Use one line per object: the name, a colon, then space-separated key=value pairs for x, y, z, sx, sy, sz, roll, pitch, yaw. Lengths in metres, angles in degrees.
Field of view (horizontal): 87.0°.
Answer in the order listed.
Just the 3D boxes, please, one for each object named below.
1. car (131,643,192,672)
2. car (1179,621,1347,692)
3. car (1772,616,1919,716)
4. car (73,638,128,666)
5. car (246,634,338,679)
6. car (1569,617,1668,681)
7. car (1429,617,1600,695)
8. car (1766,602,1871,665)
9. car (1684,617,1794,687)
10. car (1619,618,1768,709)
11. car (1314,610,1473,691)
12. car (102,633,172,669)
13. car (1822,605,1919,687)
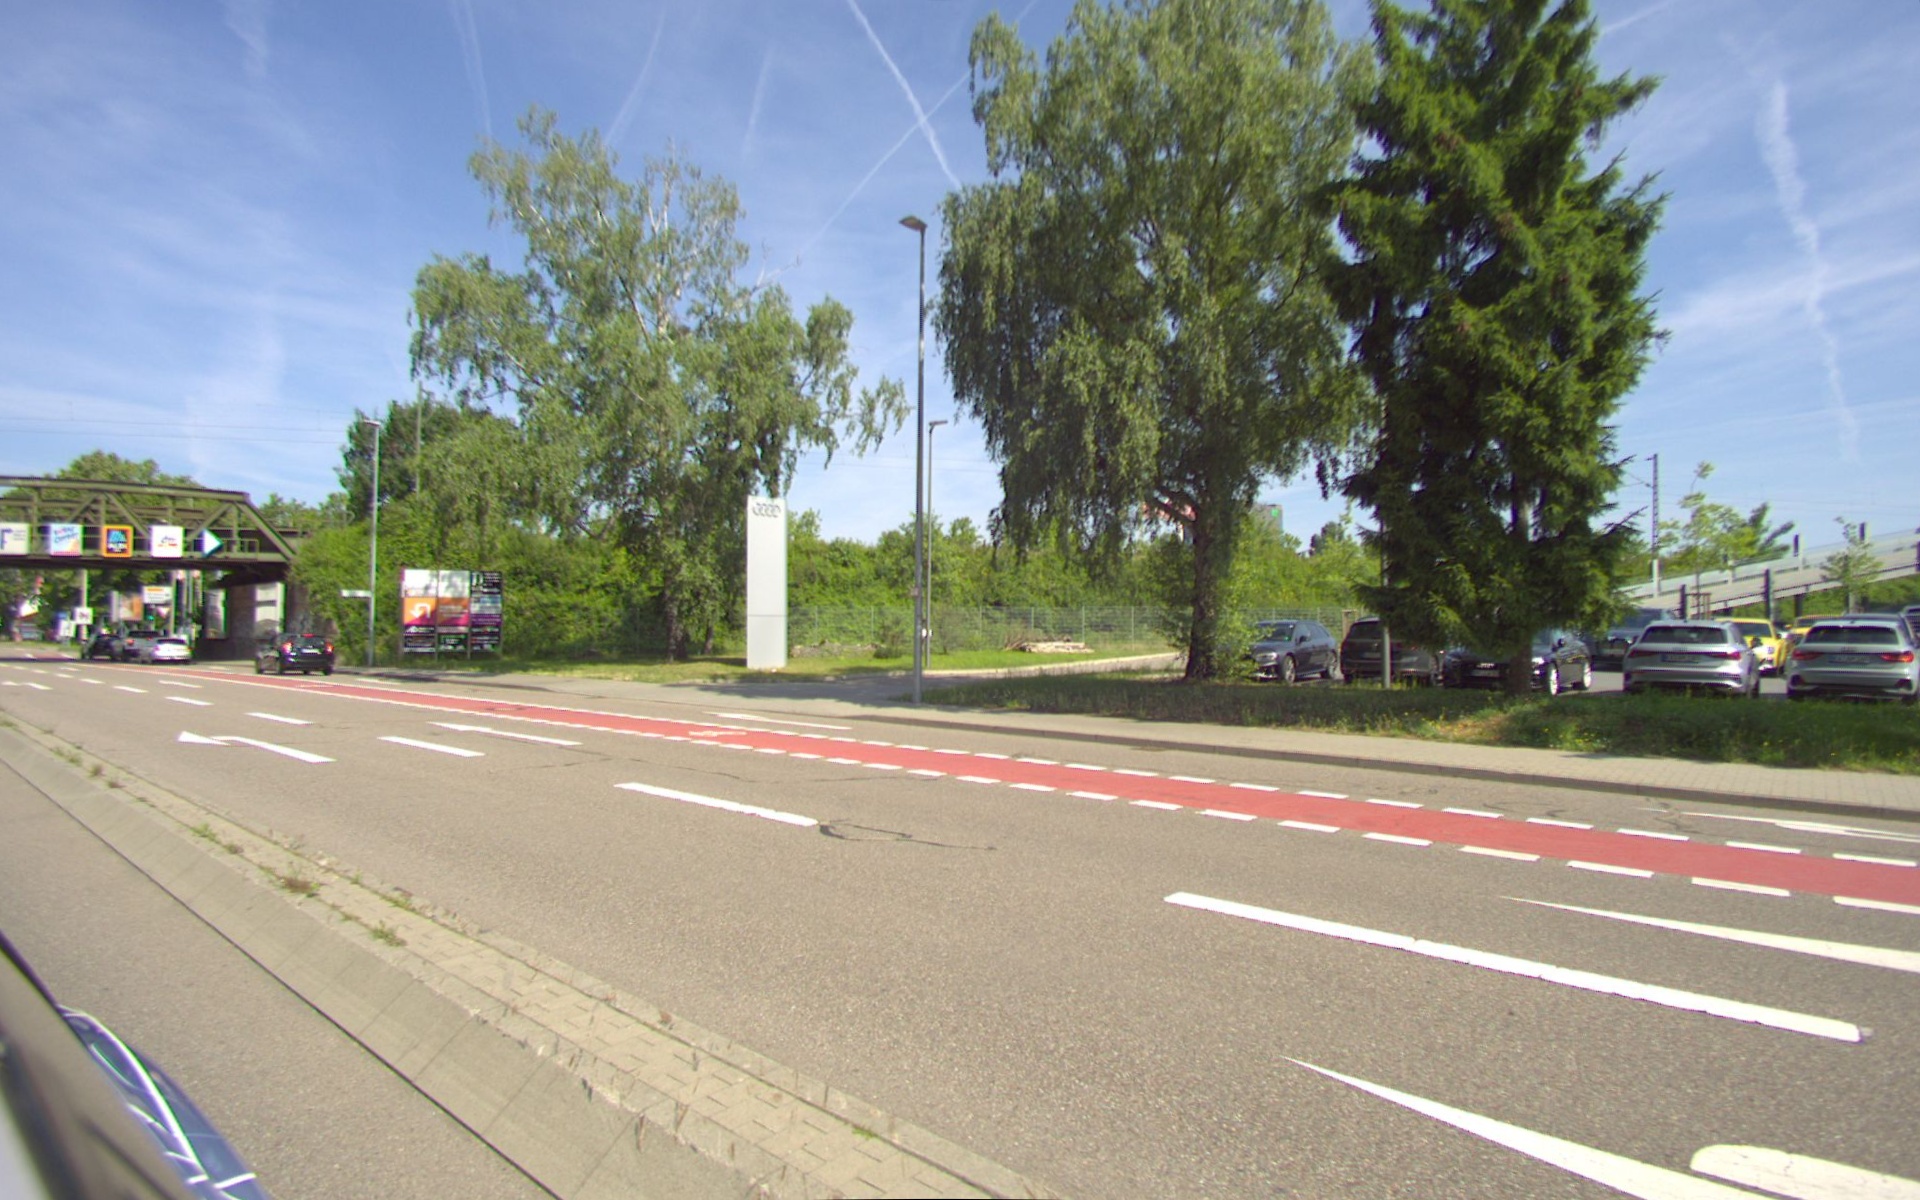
car: x=-40.441 y=2.888 z=51.210 sx=4.316 sy=1.398 sz=1.618 roll=-2 pitch=-4 yaw=41
car: x=7.074 y=1.229 z=23.330 sx=1.999 sy=1.400 sz=4.638 roll=-2 pitch=-1 yaw=40
car: x=15.508 y=1.052 z=17.541 sx=1.848 sy=1.497 sz=3.942 roll=-2 pitch=-1 yaw=44
car: x=-52.190 y=3.132 z=61.447 sx=4.384 sy=1.608 sz=1.853 roll=-2 pitch=-3 yaw=41
car: x=-24.179 y=2.021 z=36.584 sx=4.025 sy=1.530 sz=1.680 roll=-2 pitch=-4 yaw=41
car: x=18.157 y=1.279 z=27.830 sx=1.803 sy=1.576 sz=4.200 roll=-2 pitch=-1 yaw=39
car: x=10.992 y=1.020 z=19.882 sx=1.999 sy=1.278 sz=4.801 roll=-2 pitch=-1 yaw=40
car: x=25.526 y=0.949 z=30.230 sx=1.996 sy=1.746 sz=3.952 roll=-2 pitch=-1 yaw=35
car: x=20.389 y=1.300 z=26.444 sx=1.999 sy=1.634 sz=3.945 roll=-2 pitch=-1 yaw=41
car: x=12.980 y=1.036 z=17.831 sx=1.815 sy=1.381 sz=3.642 roll=-2 pitch=-1 yaw=41
car: x=9.466 y=1.017 z=21.941 sx=1.999 sy=1.558 sz=4.170 roll=-2 pitch=-1 yaw=41
car: x=-45.331 y=2.800 z=55.724 sx=5.447 sy=1.875 sz=1.973 roll=-2 pitch=-5 yaw=41
car: x=21.944 y=1.037 z=24.153 sx=1.999 sy=1.770 sz=3.945 roll=-2 pitch=-1 yaw=41
